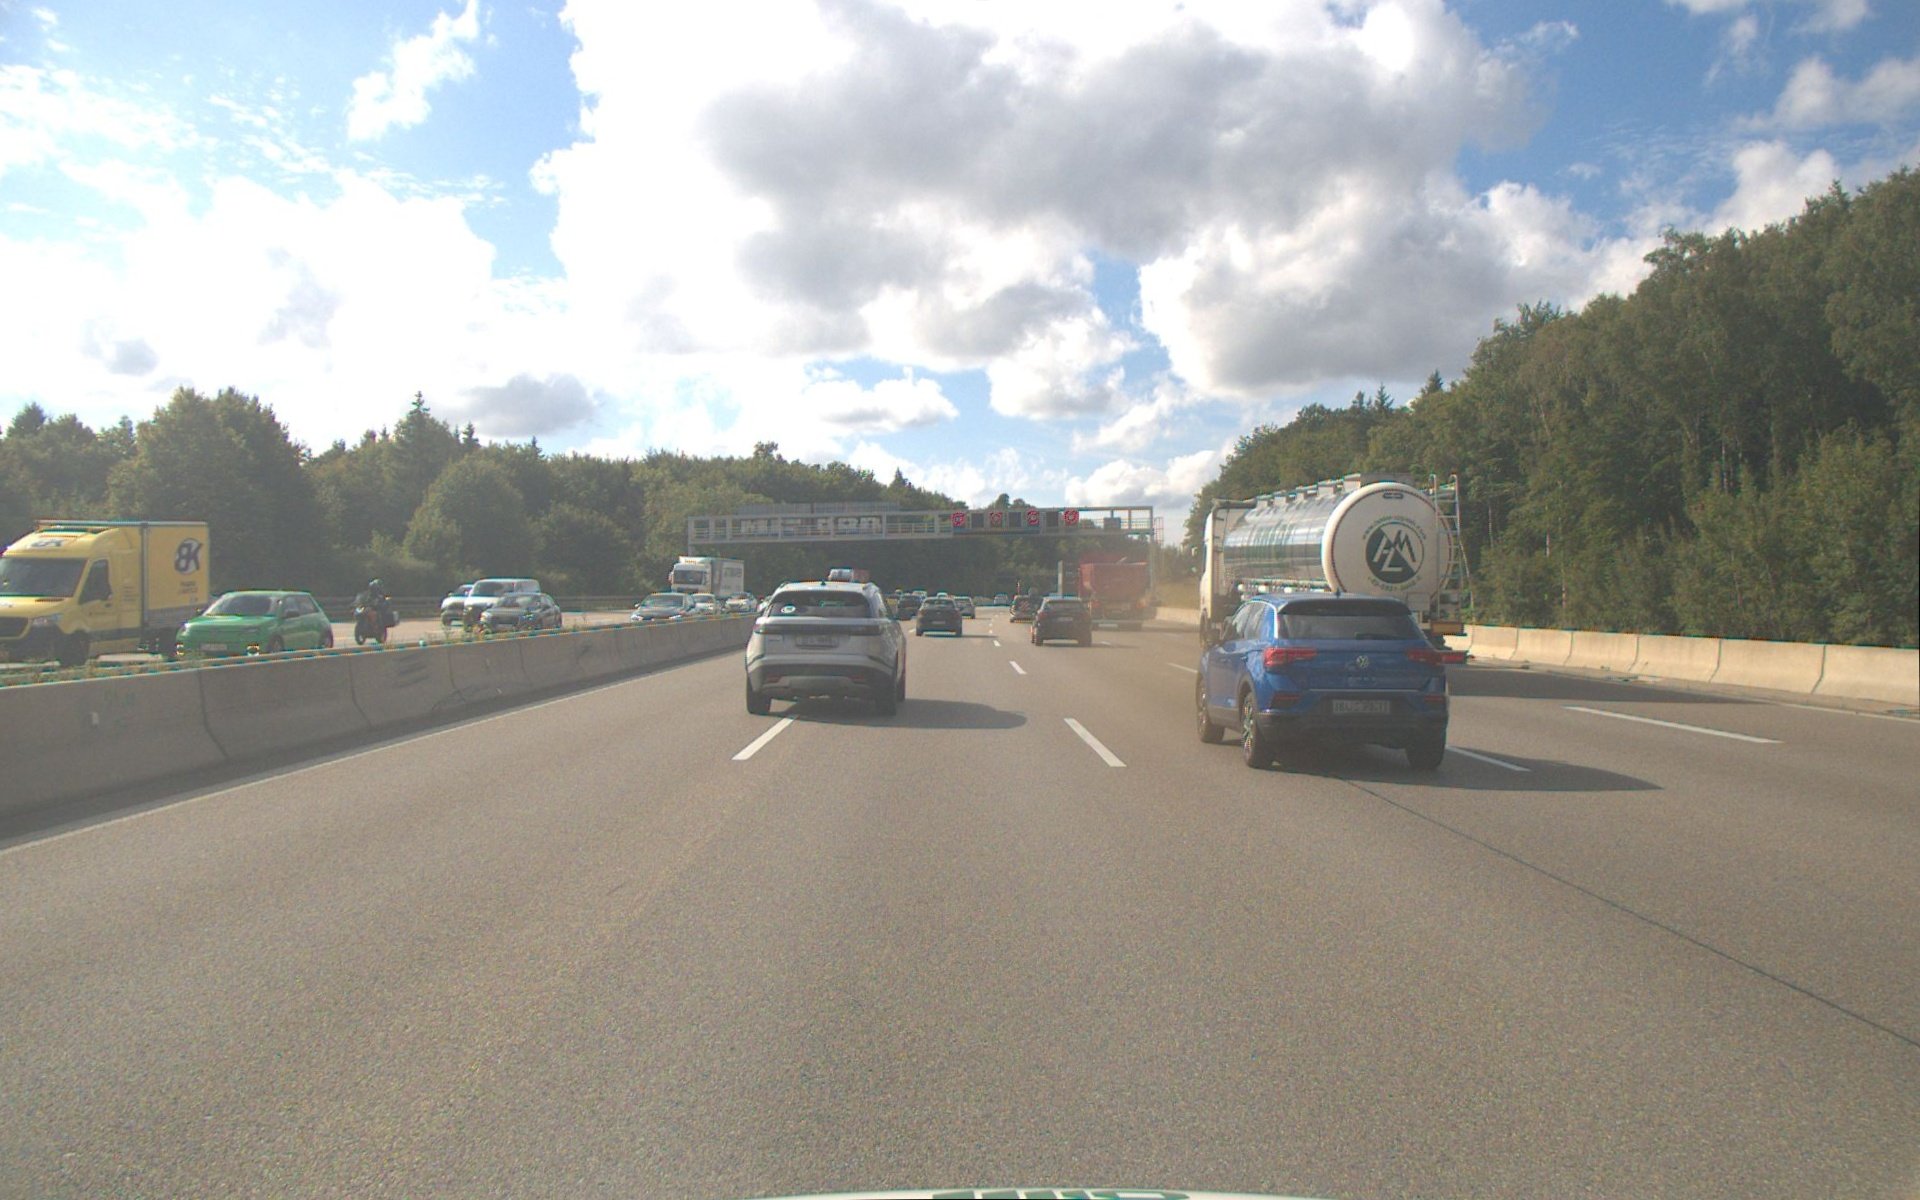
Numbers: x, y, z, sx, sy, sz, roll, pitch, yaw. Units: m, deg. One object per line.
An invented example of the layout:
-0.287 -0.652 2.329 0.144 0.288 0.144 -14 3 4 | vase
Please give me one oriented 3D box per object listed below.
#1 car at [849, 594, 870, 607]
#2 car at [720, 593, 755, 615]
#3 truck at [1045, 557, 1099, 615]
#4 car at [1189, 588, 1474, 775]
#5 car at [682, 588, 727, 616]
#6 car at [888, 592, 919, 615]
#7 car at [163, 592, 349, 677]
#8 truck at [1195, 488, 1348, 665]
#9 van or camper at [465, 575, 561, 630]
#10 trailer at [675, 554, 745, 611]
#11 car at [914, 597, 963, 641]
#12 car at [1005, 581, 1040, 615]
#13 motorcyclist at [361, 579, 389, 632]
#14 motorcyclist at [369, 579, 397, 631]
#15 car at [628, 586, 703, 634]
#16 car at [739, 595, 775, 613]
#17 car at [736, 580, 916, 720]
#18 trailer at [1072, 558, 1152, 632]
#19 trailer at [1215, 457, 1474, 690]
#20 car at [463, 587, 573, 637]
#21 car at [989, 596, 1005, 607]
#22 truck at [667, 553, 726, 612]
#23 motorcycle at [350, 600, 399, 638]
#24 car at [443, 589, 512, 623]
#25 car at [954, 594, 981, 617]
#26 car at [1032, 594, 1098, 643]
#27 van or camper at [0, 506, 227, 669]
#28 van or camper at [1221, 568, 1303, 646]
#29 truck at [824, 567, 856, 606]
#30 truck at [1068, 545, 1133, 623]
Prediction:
-10.281 0.022 169.273 1.773 1.325 4.046 0 0 1 | car
-15.873 0.267 118.175 1.773 1.478 4.802 0 0 1 | car
8.006 -0.998 119.708 3.055 4.003 10.409 0 0 -1 | truck
3.427 0.678 16.111 1.737 1.557 4.457 0 0 0 | car
-13.627 0.099 88.426 1.733 1.419 4.690 0 0 -1 | car
-3.785 0.199 110.852 1.902 1.483 4.000 -1 0 0 | car
-13.549 0.613 32.127 1.747 1.496 4.330 -1 0 0 | car
7.316 -0.541 39.596 2.594 3.890 6.082 0 0 1 | truck
-16.806 0.083 62.436 1.952 1.971 5.459 0 0 2 | van or camper
-19.218 -1.286 128.130 3.250 4.178 14.154 0 0 0 | trailer
-0.825 0.697 62.970 1.785 1.573 3.999 0 0 -1 | car
3.630 -0.113 97.055 1.855 1.889 4.100 1 0 -1 | car
-16.785 0.153 47.458 0.590 1.502 0.532 1 -1 1 | motorcyclist
-16.769 0.157 48.068 0.590 1.502 0.532 1 -1 1 | motorcyclist
-10.119 0.324 57.070 1.825 1.579 4.661 0 0 -1 | car
-13.810 0.285 112.754 1.773 1.181 4.516 0 0 2 | car
-1.669 0.579 22.382 1.965 1.644 5.301 1 0 0 | car
7.184 -0.292 79.331 2.655 3.287 9.730 1 1 -2 | trailer
7.270 -0.472 33.295 2.594 3.833 11.861 0 0 1 | trailer
-13.882 0.355 52.245 2.126 1.496 4.786 0 0 1 | car
5.299 0.205 235.309 2.033 1.483 4.002 -1 0 3 | car
-19.266 -1.260 121.284 3.249 4.178 6.225 0 0 0 | truck
-16.779 0.528 47.422 0.597 1.058 2.175 0 0 1 | motorcycle
-20.944 0.233 71.959 1.786 1.419 4.277 0 0 -1 | car
0.499 0.371 111.488 1.785 1.483 3.999 1 0 -1 | car
3.277 0.542 52.213 1.785 1.483 3.999 0 0 -1 | car
-17.293 -0.242 33.011 2.325 2.942 6.507 0 0 1 | van or camper
9.580 0.200 52.814 1.785 2.348 4.939 0 0 1 | van or camper
-13.011 -1.464 179.922 2.681 4.178 5.767 0 0 4 | truck
7.084 -0.805 84.286 2.655 3.783 5.816 1 1 -1 | truck
